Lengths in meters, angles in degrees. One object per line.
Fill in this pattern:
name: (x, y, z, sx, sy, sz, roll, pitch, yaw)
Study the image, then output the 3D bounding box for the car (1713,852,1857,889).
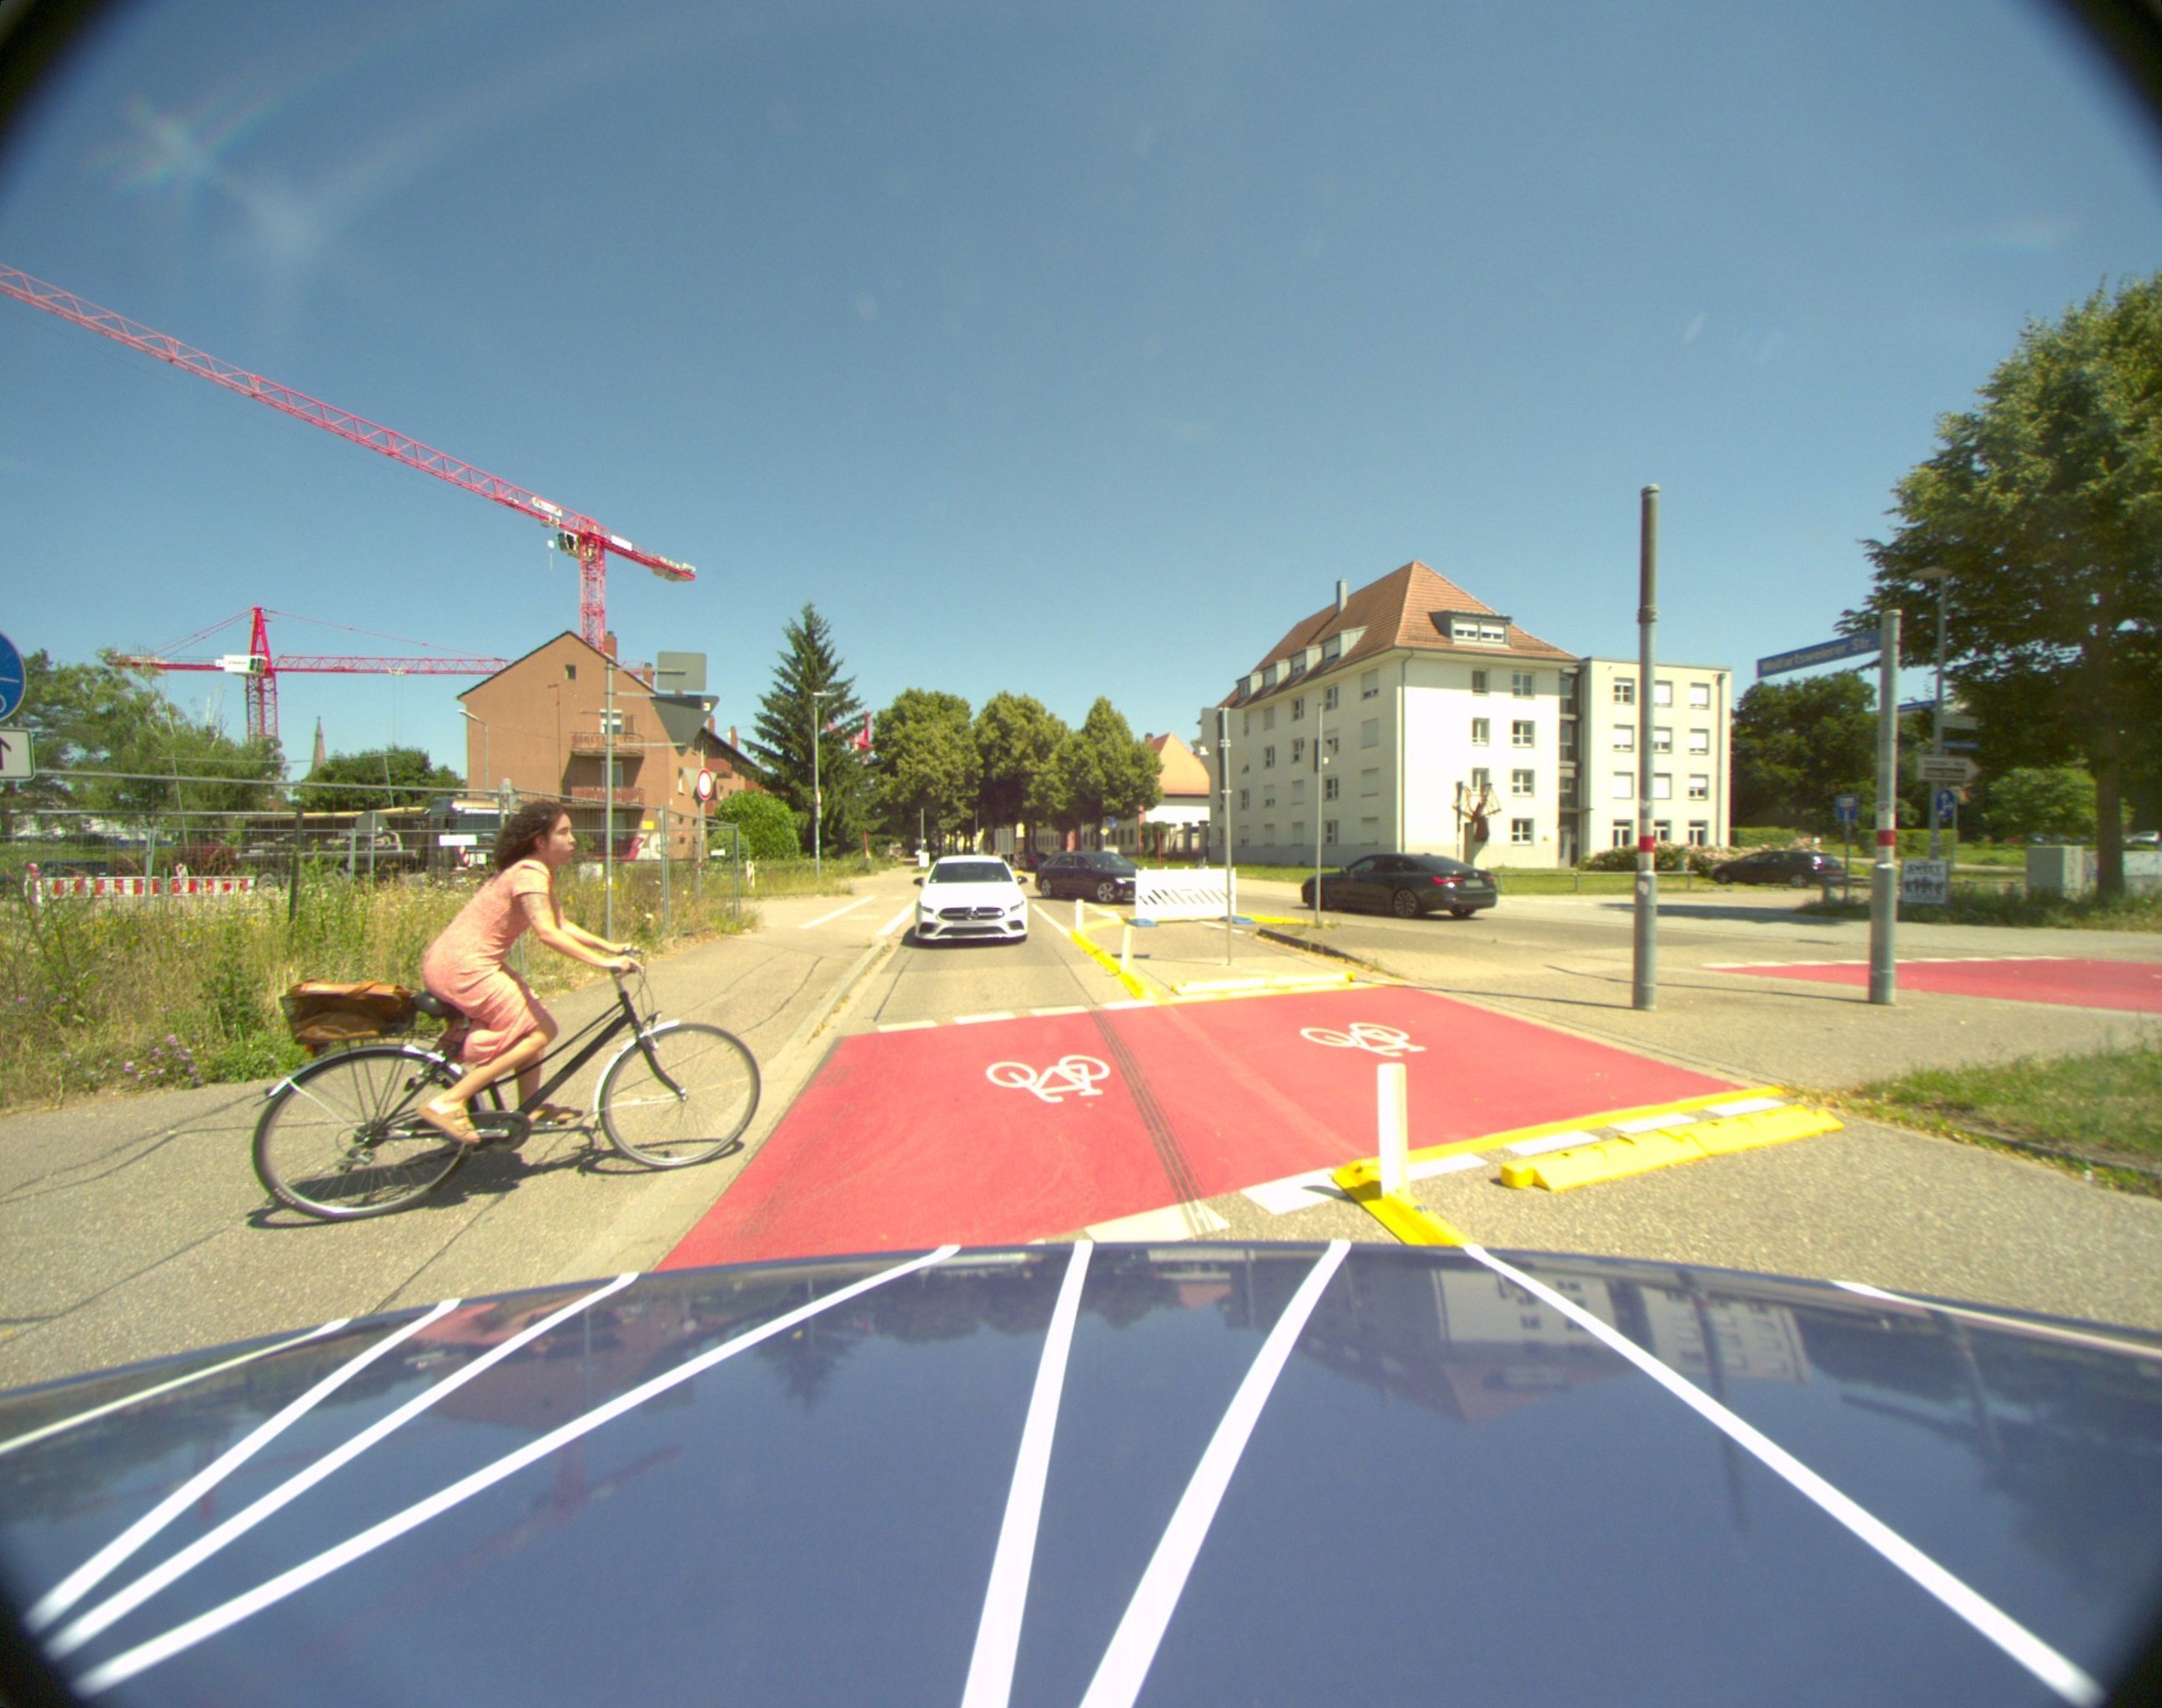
car: (27.274, 0.594, 29.609, 1.660, 1.319, 3.802, -1, 1, -14)

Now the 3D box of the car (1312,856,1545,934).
car: (7.406, 0.782, 16.739, 1.725, 1.404, 4.608, -1, 1, -26)

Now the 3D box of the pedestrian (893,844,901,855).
pedestrian: (-26.023, -0.648, 107.471, 1.025, 1.509, 0.681, -1, 1, -8)

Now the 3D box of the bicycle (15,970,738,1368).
bicycle: (-2.583, 1.121, 3.138, 2.091, 1.052, 0.438, 0, 3, -30)

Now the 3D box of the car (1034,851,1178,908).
car: (0.602, 0.669, 22.163, 1.805, 1.443, 4.606, -2, 1, -34)

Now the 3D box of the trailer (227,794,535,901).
trailer: (-24.828, -0.195, 27.127, 8.978, 3.512, 3.167, 0, 1, 10)

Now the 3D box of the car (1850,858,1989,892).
car: (33.428, 0.815, 30.415, 1.357, 1.210, 3.509, -1, 1, -14)

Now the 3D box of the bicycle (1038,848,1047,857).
bicycle: (-3.952, -0.134, 78.497, 0.563, 0.910, 1.906, -1, 1, -14)

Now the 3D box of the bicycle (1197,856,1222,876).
bicycle: (6.925, 0.641, 41.172, 0.710, 1.018, 1.983, -3, 2, -8)

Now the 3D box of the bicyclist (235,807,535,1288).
bicyclist: (-2.692, 0.656, 3.042, 0.711, 1.655, 0.644, -1, 2, -29)

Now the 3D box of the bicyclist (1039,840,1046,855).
bicyclist: (-3.961, -0.677, 78.509, 0.569, 1.601, 0.739, -1, 1, -14)

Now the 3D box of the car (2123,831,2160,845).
car: (111.804, -1.712, 80.111, 3.030, 1.408, 1.476, -1, 1, -19)

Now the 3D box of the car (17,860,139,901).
car: (-41.256, 1.089, 31.297, 3.415, 1.604, 1.370, 0, 1, 4)

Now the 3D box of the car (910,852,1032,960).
car: (-1.842, 0.780, 13.520, 1.781, 1.536, 3.960, -2, 1, -5)

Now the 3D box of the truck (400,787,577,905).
truck: (-19.728, -0.252, 25.285, 4.950, 3.512, 3.171, 0, 1, 34)
